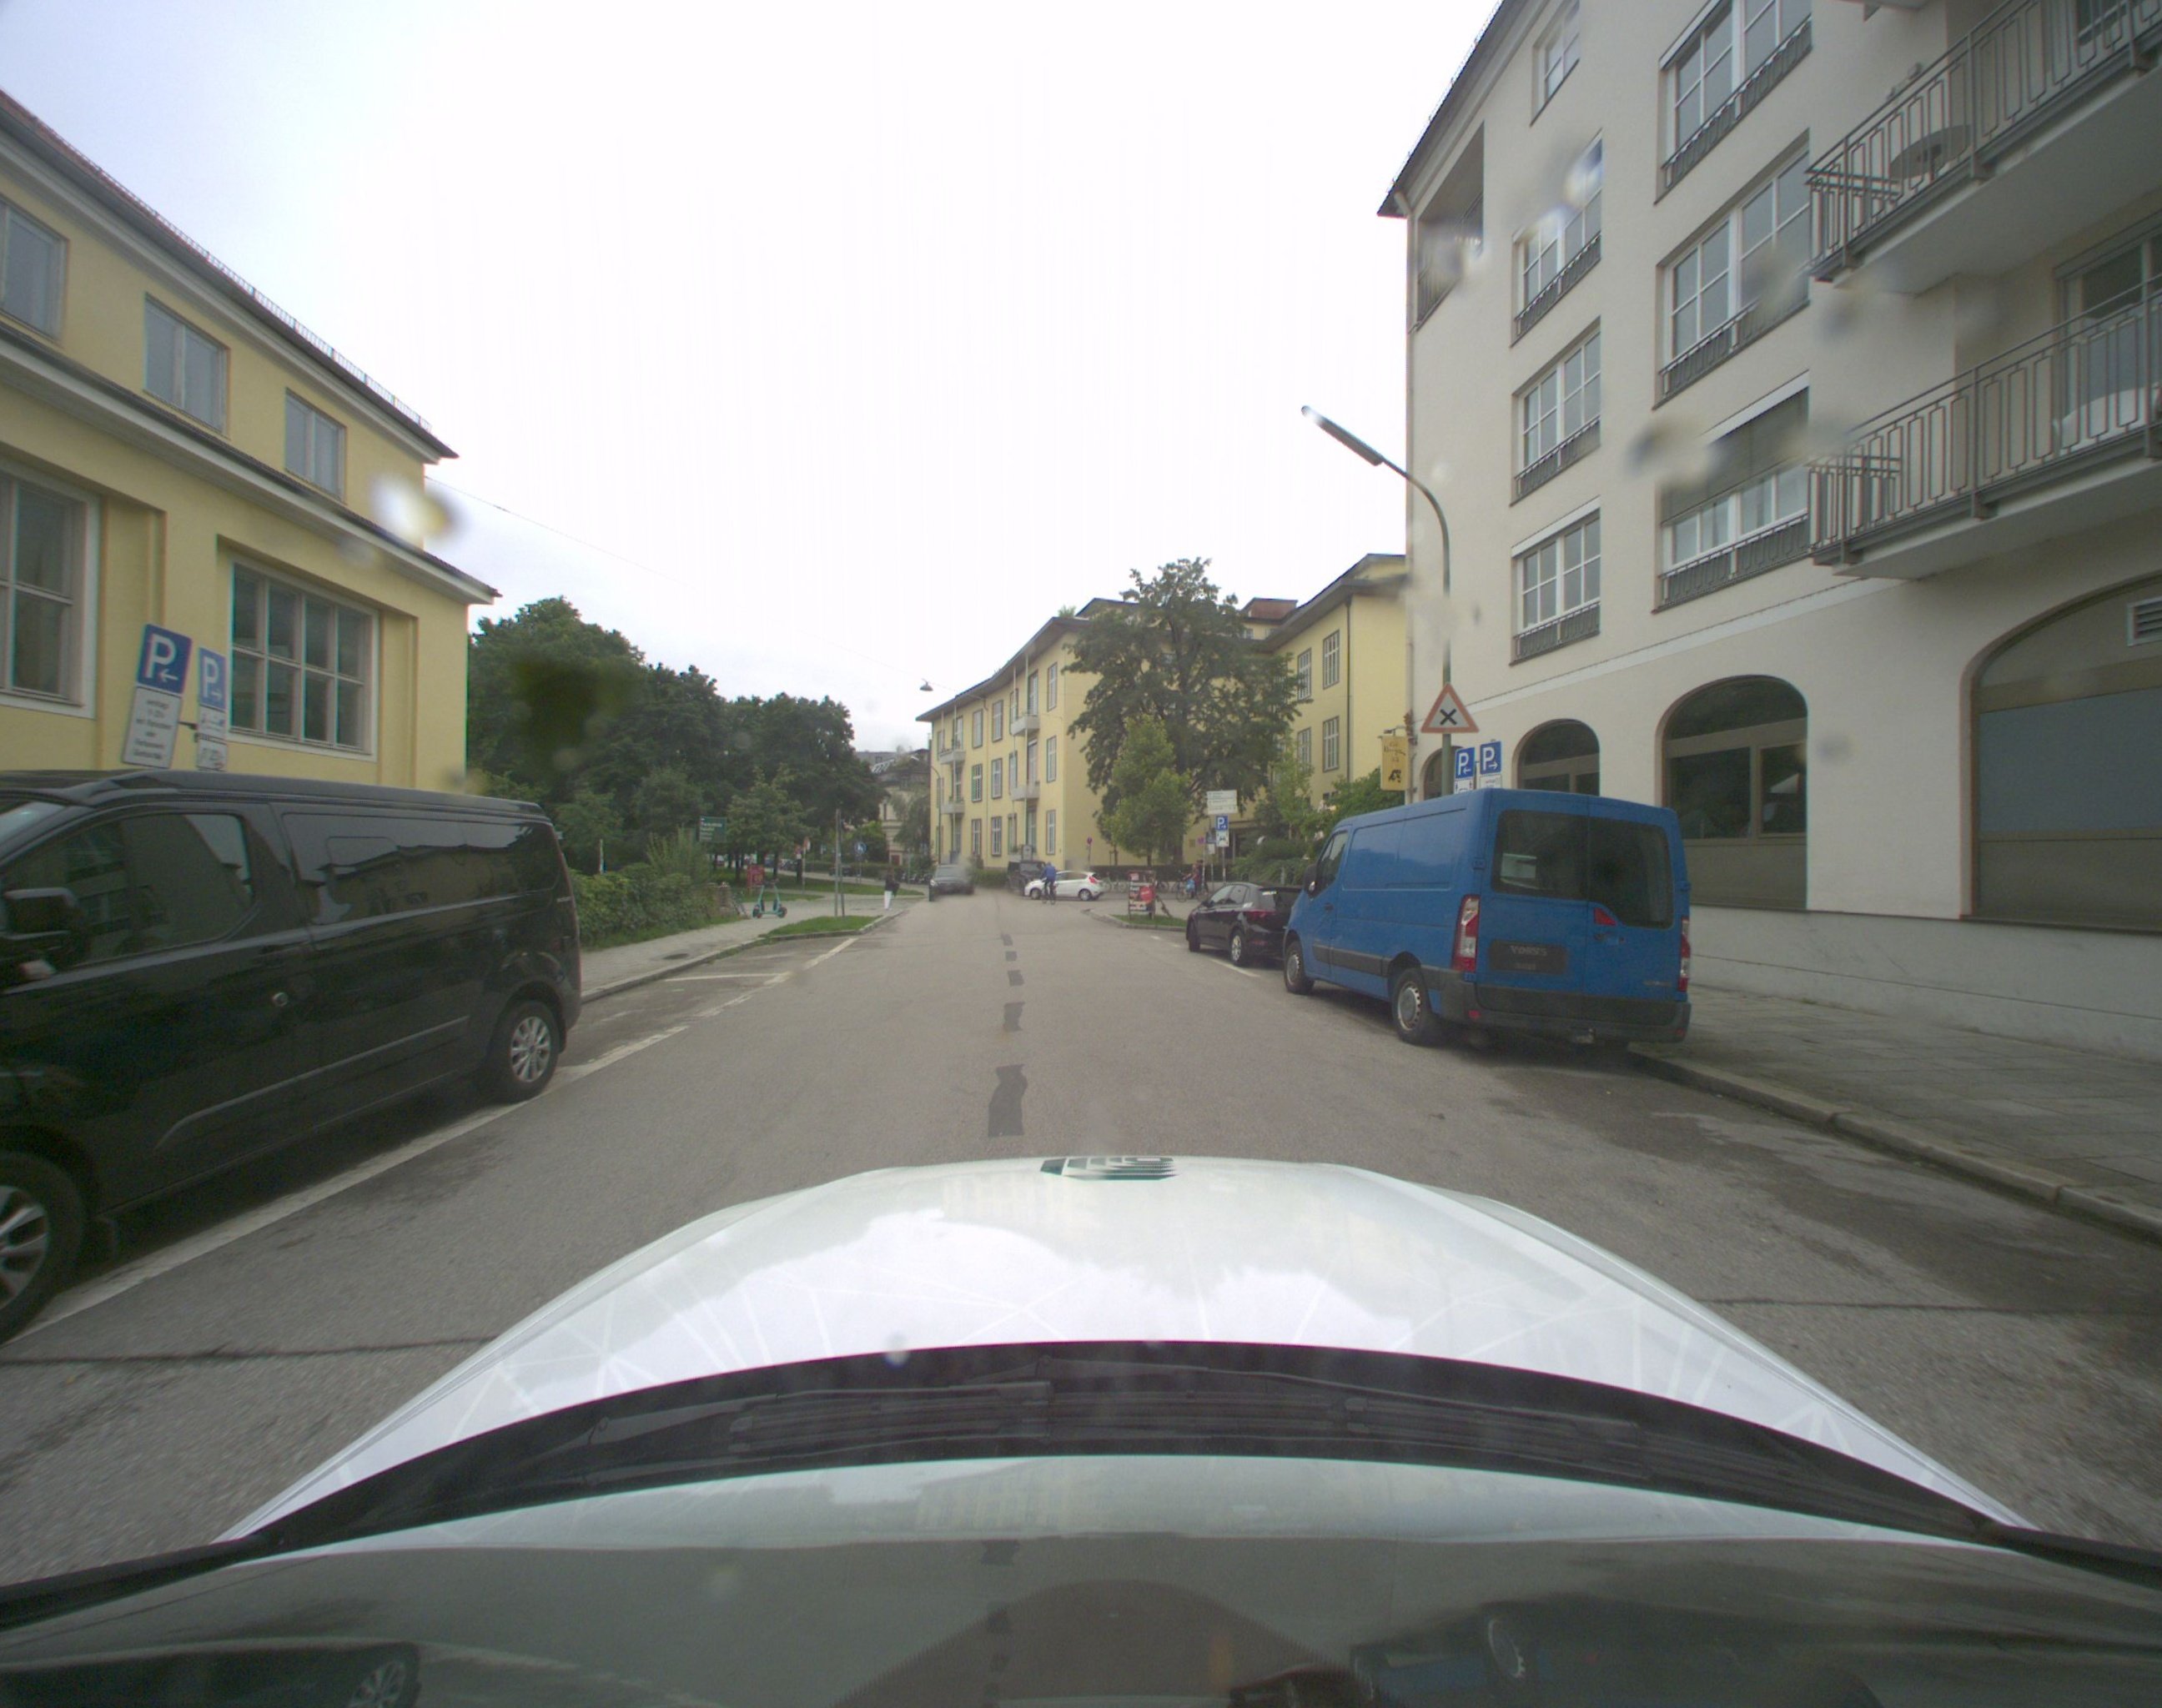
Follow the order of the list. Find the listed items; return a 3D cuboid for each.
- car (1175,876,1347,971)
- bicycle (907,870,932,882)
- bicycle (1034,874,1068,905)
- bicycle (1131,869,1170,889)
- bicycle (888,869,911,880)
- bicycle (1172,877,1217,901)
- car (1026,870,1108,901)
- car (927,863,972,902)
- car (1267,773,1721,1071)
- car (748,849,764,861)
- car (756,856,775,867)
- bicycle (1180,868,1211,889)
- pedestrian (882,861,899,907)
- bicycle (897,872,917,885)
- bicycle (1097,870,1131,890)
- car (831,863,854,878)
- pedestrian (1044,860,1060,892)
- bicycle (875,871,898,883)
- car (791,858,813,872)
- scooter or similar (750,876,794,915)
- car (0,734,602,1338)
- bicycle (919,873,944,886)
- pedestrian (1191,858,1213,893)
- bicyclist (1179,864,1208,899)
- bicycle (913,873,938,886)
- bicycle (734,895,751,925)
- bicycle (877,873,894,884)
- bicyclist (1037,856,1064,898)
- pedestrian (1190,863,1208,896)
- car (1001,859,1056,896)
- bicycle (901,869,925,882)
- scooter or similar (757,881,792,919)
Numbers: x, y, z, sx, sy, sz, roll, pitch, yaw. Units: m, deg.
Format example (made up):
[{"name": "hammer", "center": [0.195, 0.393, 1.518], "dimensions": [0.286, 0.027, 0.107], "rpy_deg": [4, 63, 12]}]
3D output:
[{"name": "car", "center": [3.148, 1.182, 15.106], "dimensions": [1.714, 1.395, 3.987], "rpy_deg": [4, -1, -9]}, {"name": "bicycle", "center": [-13.300, 1.814, 67.211], "dimensions": [1.989, 1.029, 0.611], "rpy_deg": [1, -1, -44]}, {"name": "bicycle", "center": [-1.325, 1.497, 35.071], "dimensions": [0.923, 1.252, 2.308], "rpy_deg": [0, 0, -16]}, {"name": "bicycle", "center": [3.881, 1.386, 45.475], "dimensions": [2.154, 1.115, 0.642], "rpy_deg": [0, 0, 10]}, {"name": "bicycle", "center": [-16.421, 1.860, 73.791], "dimensions": [1.989, 1.029, 0.611], "rpy_deg": [1, -1, -44]}, {"name": "bicycle", "center": [5.328, 1.631, 38.142], "dimensions": [2.203, 1.019, 0.868], "rpy_deg": [0, 0, -43]}, {"name": "car", "center": [-0.665, 1.512, 39.834], "dimensions": [3.687, 1.406, 1.760], "rpy_deg": [0, 0, 15]}, {"name": "car", "center": [-6.346, 1.298, 39.002], "dimensions": [1.994, 1.719, 4.598], "rpy_deg": [0, 0, -11]}, {"name": "car", "center": [3.895, 0.641, 8.976], "dimensions": [2.105, 2.214, 5.020], "rpy_deg": [5, -3, -4]}, {"name": "car", "center": [-53.978, 0.223, 135.228], "dimensions": [2.078, 1.966, 4.932], "rpy_deg": [0, 0, -28]}, {"name": "car", "center": [-49.262, 1.183, 127.040], "dimensions": [2.007, 1.600, 4.212], "rpy_deg": [0, 0, -31]}, {"name": "bicycle", "center": [6.356, 1.372, 45.289], "dimensions": [1.681, 1.130, 0.459], "rpy_deg": [0, 0, -8]}, {"name": "pedestrian", "center": [-7.189, 1.108, 30.692], "dimensions": [0.543, 1.697, 0.662], "rpy_deg": [-2, 0, -18]}, {"name": "bicycle", "center": [-14.899, 2.093, 69.732], "dimensions": [0.527, 1.029, 1.989], "rpy_deg": [0, -1, 26]}, {"name": "bicycle", "center": [1.882, 1.478, 46.490], "dimensions": [1.924, 1.085, 0.532], "rpy_deg": [-3, -2, 36]}, {"name": "car", "center": [-25.667, 1.735, 87.519], "dimensions": [1.656, 1.558, 3.526], "rpy_deg": [0, 0, -29]}, {"name": "pedestrian", "center": [-1.662, 1.237, 45.919], "dimensions": [0.847, 1.757, 0.952], "rpy_deg": [-1, 0, -5]}, {"name": "bicycle", "center": [-17.929, 2.102, 75.049], "dimensions": [1.989, 1.029, 0.611], "rpy_deg": [1, -1, -44]}, {"name": "car", "center": [-35.783, 1.400, 104.463], "dimensions": [1.805, 1.680, 3.960], "rpy_deg": [0, 0, -32]}, {"name": "scooter or similar", "center": [-9.984, 1.349, 26.358], "dimensions": [1.254, 1.244, 0.395], "rpy_deg": [0, -3, 5]}, {"name": "car", "center": [-4.603, 0.636, 3.961], "dimensions": [1.921, 1.979, 4.617], "rpy_deg": [-3, 0, -3]}, {"name": "bicycle", "center": [-12.061, 2.041, 65.833], "dimensions": [1.989, 1.029, 0.611], "rpy_deg": [1, -1, -44]}, {"name": "pedestrian", "center": [6.462, 1.147, 43.472], "dimensions": [0.989, 1.809, 0.658], "rpy_deg": [0, -1, -7]}, {"name": "bicyclist", "center": [5.239, 1.280, 38.064], "dimensions": [1.055, 1.609, 0.868], "rpy_deg": [0, 0, -41]}, {"name": "bicycle", "center": [-12.690, 2.060, 66.421], "dimensions": [1.989, 1.029, 0.611], "rpy_deg": [1, -1, -44]}, {"name": "bicycle", "center": [-10.672, 1.741, 25.665], "dimensions": [0.435, 0.893, 1.319], "rpy_deg": [0, -2, -25]}, {"name": "bicycle", "center": [-17.996, 2.246, 74.958], "dimensions": [0.404, 1.014, 1.547], "rpy_deg": [-1, 0, 43]}, {"name": "bicyclist", "center": [-1.325, 0.973, 35.083], "dimensions": [0.916, 1.764, 1.208], "rpy_deg": [0, 0, -16]}, {"name": "pedestrian", "center": [6.380, 1.356, 44.095], "dimensions": [0.826, 1.746, 0.739], "rpy_deg": [0, 0, -8]}, {"name": "car", "center": [-3.010, 1.263, 45.559], "dimensions": [1.880, 1.887, 4.588], "rpy_deg": [0, 0, -20]}, {"name": "bicycle", "center": [-14.087, 1.789, 68.263], "dimensions": [1.989, 1.029, 0.611], "rpy_deg": [1, -1, -44]}, {"name": "scooter or similar", "center": [-10.171, 1.521, 27.067], "dimensions": [0.434, 1.213, 1.059], "rpy_deg": [-1, -3, 26]}]
